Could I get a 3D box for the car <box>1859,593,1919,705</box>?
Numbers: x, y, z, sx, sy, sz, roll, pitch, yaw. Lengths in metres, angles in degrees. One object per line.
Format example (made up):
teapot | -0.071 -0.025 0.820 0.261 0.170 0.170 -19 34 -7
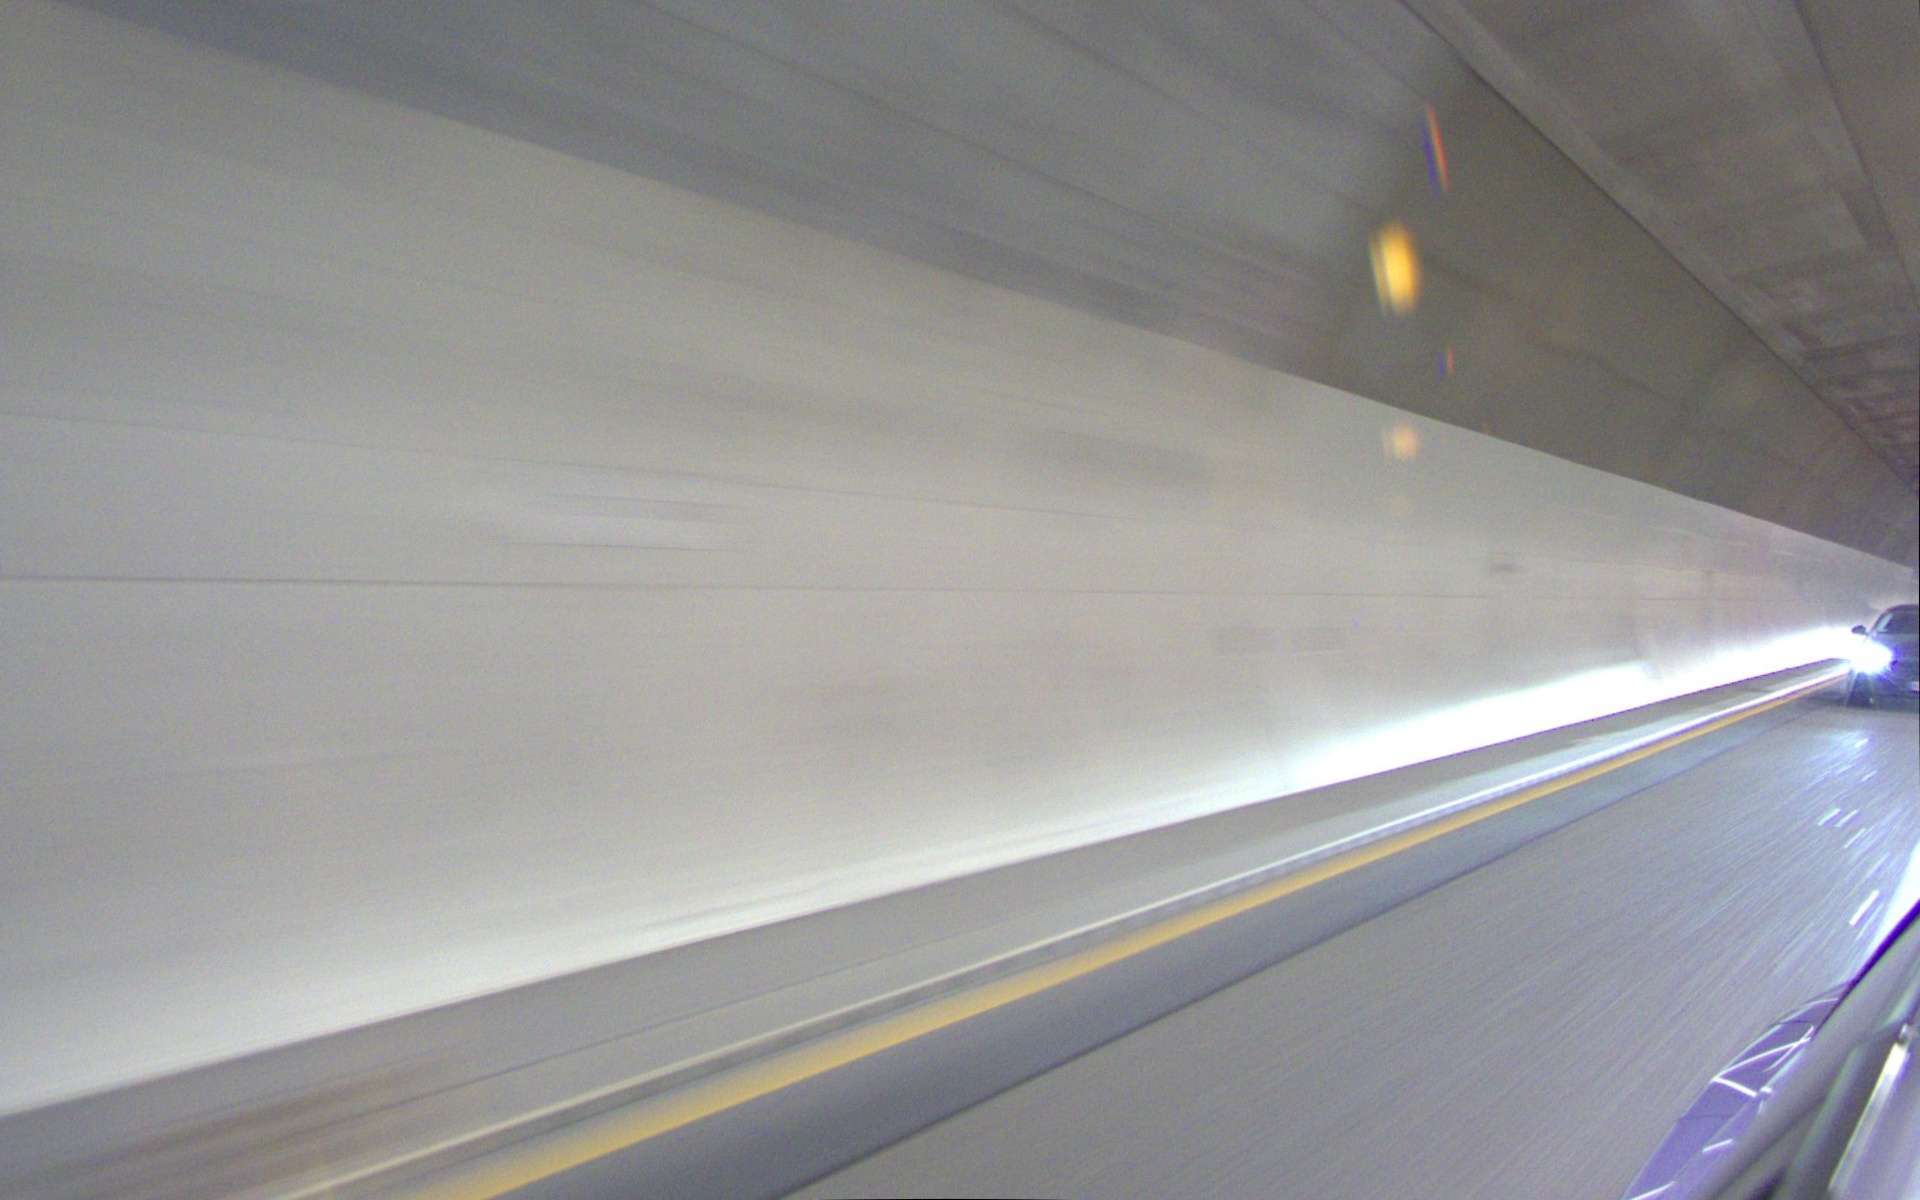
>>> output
car | 14.560 0.652 14.780 4.447 1.496 1.822 0 0 -44
